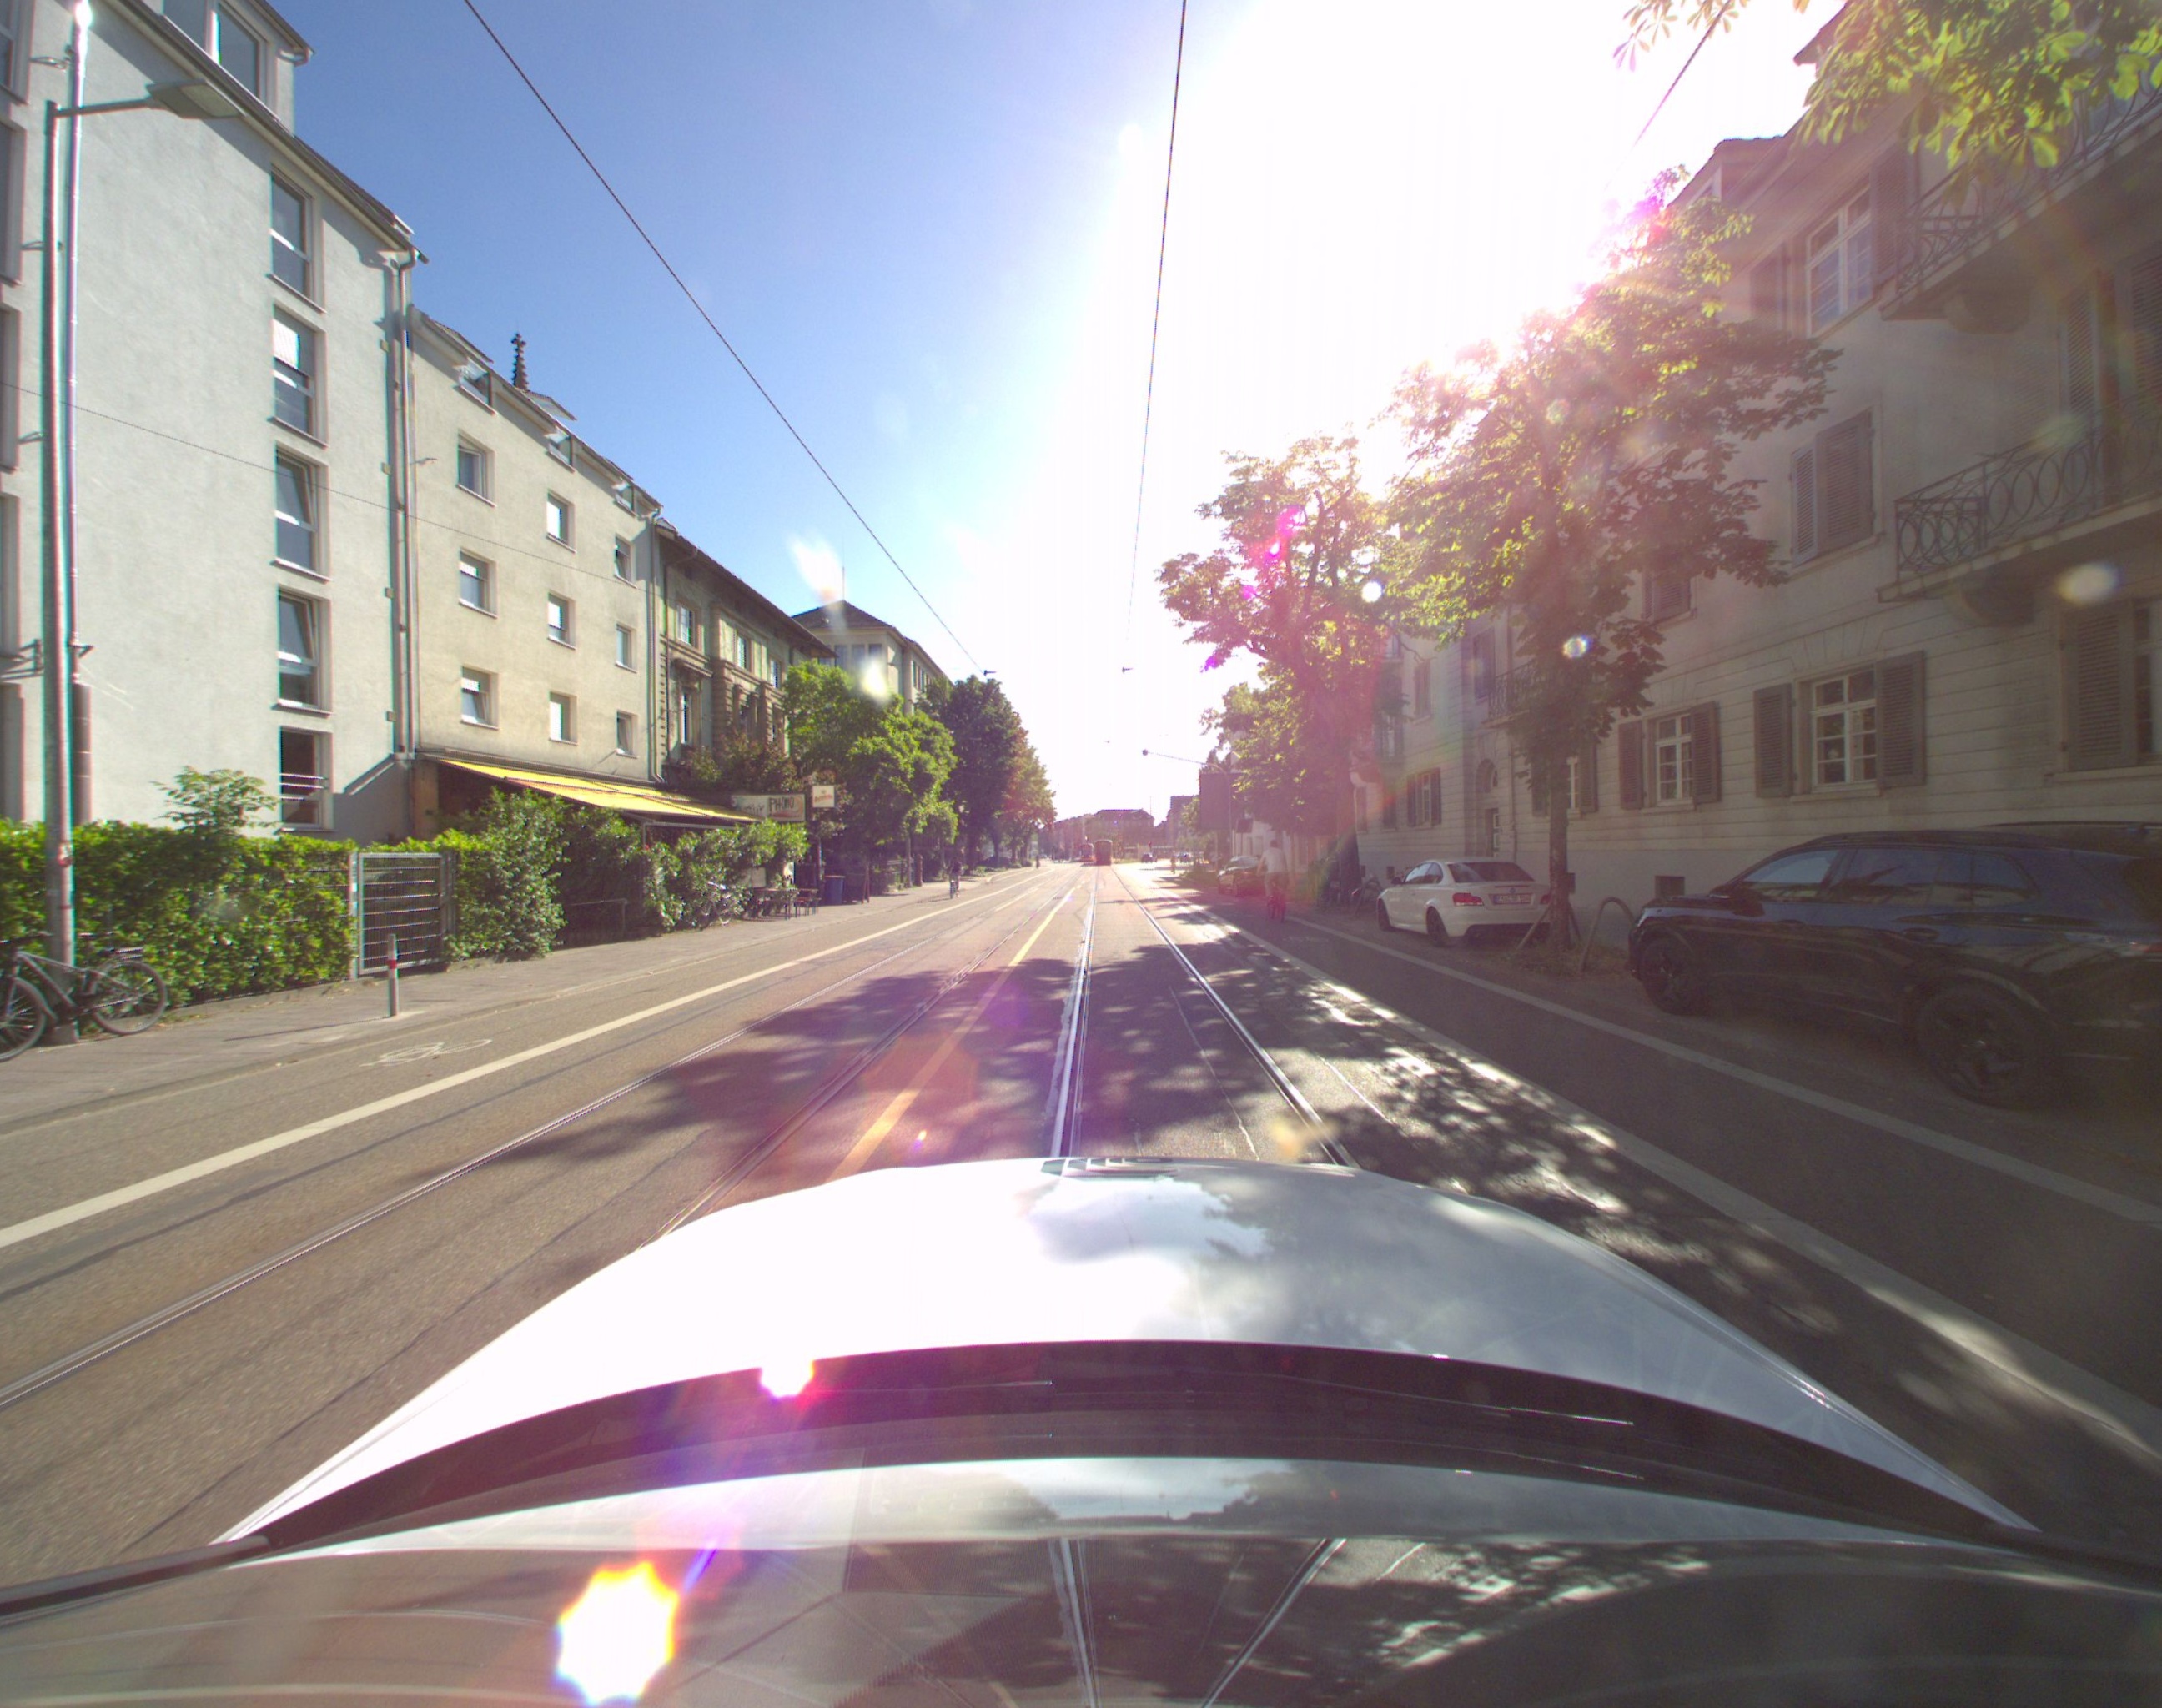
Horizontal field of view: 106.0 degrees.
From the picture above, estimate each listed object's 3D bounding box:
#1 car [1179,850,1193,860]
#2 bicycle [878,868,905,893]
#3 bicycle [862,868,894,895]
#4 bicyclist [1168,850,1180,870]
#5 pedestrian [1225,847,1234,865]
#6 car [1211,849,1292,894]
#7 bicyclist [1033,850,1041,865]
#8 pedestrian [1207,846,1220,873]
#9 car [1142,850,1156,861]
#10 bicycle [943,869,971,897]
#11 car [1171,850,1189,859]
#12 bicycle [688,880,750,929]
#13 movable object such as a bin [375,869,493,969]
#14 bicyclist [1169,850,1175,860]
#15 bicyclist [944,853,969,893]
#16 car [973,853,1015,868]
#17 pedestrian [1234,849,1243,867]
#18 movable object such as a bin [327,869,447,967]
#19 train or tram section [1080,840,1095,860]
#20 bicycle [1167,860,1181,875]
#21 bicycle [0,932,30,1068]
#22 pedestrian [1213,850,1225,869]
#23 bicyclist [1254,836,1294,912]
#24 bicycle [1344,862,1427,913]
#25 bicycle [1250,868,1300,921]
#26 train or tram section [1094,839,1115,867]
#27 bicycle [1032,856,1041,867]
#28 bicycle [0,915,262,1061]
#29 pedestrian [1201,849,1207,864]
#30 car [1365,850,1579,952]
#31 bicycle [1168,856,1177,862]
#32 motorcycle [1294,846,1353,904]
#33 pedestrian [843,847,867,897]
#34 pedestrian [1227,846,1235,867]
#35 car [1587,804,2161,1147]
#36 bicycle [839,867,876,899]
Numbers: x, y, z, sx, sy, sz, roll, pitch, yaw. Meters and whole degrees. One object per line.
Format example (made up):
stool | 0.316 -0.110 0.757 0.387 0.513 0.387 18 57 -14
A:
car | 16.990 0.177 132.078 1.776 1.511 3.727 0 1 14
bicycle | -8.517 1.177 36.695 0.587 1.045 1.907 1 0 5
bicycle | -8.647 1.161 34.737 0.586 1.045 1.910 0 0 9
bicyclist | 7.592 0.480 66.361 0.699 1.675 1.107 1 1 21
pedestrian | 14.891 0.193 81.491 0.642 1.763 0.960 -6 -1 16
car | 6.264 0.586 30.445 1.817 1.458 4.814 -3 0 -2
bicyclist | -5.008 0.403 92.214 0.683 1.644 1.239 -3 0 5
pedestrian | 9.403 0.396 57.652 0.681 1.849 0.955 -2 0 0
car | 10.992 0.225 130.915 1.777 1.604 3.725 0 1 12
bicycle | -5.220 1.201 34.428 0.742 1.082 1.900 -4 0 3
car | 18.589 0.160 153.137 1.685 1.643 3.736 0 1 36
bicycle | -8.747 1.205 19.751 0.636 1.059 1.744 1 0 2
movable object such as a bin | -10.204 0.987 12.894 0.804 1.456 1.258 -2 0 0
bicyclist | 14.989 0.173 133.647 0.698 1.700 0.993 1 1 26
bicyclist | -5.249 0.792 34.430 0.742 1.599 1.118 -4 0 2
car | -9.191 0.711 86.000 4.008 1.550 1.861 0 0 -26
pedestrian | 12.220 0.293 63.248 0.515 1.404 0.765 -1 0 4
movable object such as a bin | -11.183 0.997 13.177 0.804 1.456 1.258 -2 0 0
train or tram section | 1.305 -0.834 157.830 2.732 3.651 13.787 -1 1 1
bicycle | 7.586 1.087 66.367 0.699 1.104 1.726 1 1 21
bicycle | -9.177 1.187 5.895 0.659 1.089 1.841 2 -1 2
pedestrian | 12.058 0.505 71.161 0.853 1.641 0.994 -2 -2 4
bicyclist | 4.387 0.437 18.587 0.735 1.686 0.972 0 0 3
bicycle | 6.951 0.754 18.623 1.613 1.043 0.686 -3 0 2
bicycle | 4.385 0.884 18.555 0.735 1.094 2.113 0 0 3
train or tram section | 3.263 -0.216 115.061 2.732 3.651 13.787 -1 1 1
bicycle | -4.983 0.859 92.231 0.683 1.124 1.934 -3 0 6
bicycle | -9.141 1.194 7.791 0.659 1.089 1.841 2 -1 2
pedestrian | 16.211 0.304 107.327 0.635 1.903 1.135 -3 0 2
car | 6.377 0.666 13.887 1.716 1.382 4.359 -3 0 3
bicycle | 14.985 0.827 133.675 0.698 1.055 2.327 1 1 26
motorcycle | 6.751 0.564 22.823 0.910 1.488 2.681 -3 0 3
pedestrian | -8.435 0.671 30.414 0.570 1.831 0.693 -1 0 20
pedestrian | 11.674 0.215 63.419 0.515 1.600 0.765 -1 0 4
car | 6.159 0.538 6.211 1.803 1.626 4.586 -3 0 2
bicycle | -8.805 1.126 32.184 0.642 1.143 1.910 1 0 9
